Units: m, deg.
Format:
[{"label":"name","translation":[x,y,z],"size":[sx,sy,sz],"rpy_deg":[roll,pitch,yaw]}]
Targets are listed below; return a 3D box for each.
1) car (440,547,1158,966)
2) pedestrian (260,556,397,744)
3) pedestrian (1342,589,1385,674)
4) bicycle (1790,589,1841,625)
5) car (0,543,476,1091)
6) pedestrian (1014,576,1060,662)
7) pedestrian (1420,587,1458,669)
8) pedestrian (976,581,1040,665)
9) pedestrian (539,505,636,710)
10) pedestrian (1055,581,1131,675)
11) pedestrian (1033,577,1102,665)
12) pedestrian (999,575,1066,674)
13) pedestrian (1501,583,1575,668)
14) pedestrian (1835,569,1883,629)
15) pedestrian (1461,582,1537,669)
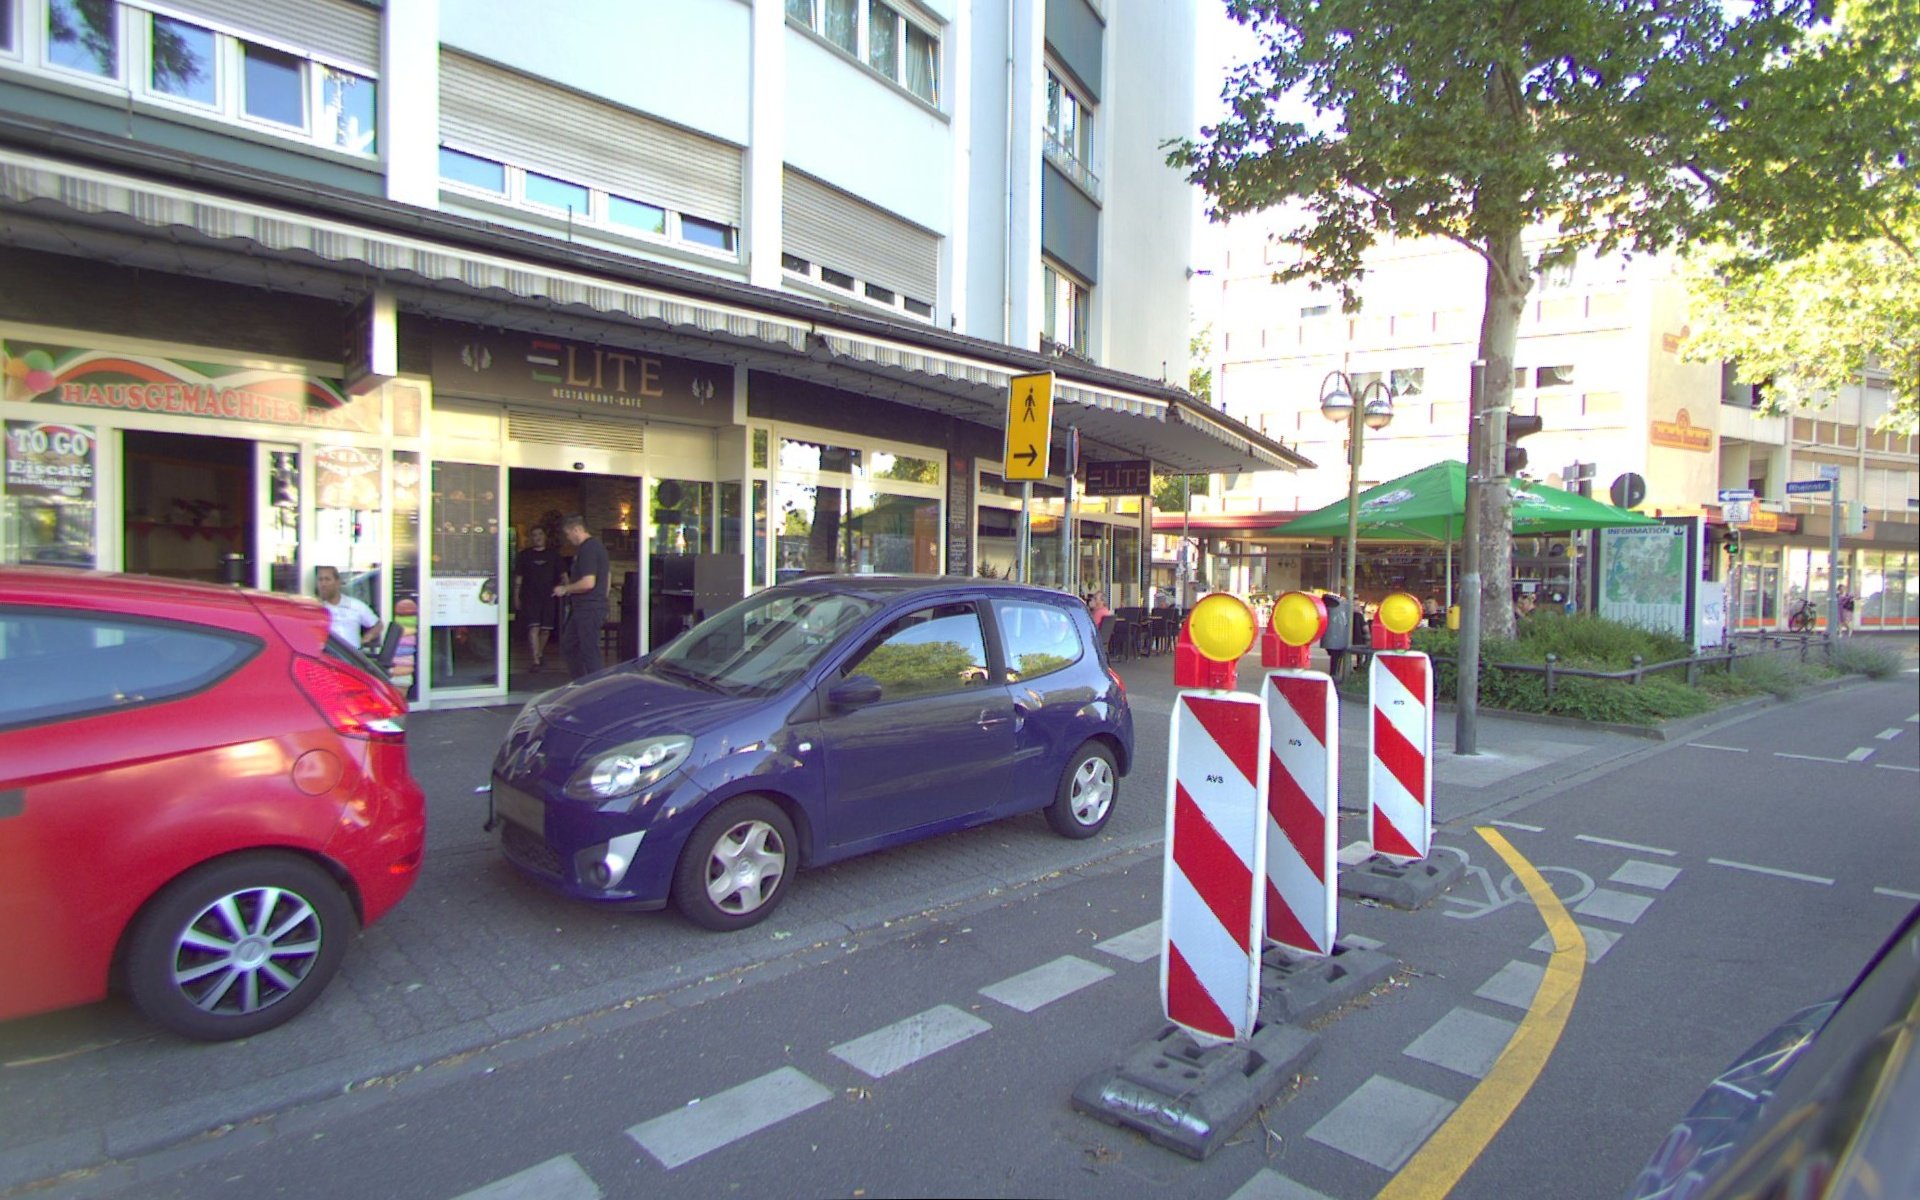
[{"label":"car","translation":[-0.660,0.535,5.508],"size":[3.545,1.484,1.621],"rpy_deg":[0,4,-44]},{"label":"pedestrian","translation":[-4.827,0.321,7.708],"size":[0.765,1.247,1.207],"rpy_deg":[-1,5,-38]},{"label":"pedestrian","translation":[5.939,0.457,14.911],"size":[0.460,1.235,0.432],"rpy_deg":[1,0,5]},{"label":"bicycle","translation":[28.122,0.230,33.249],"size":[1.933,1.157,0.530],"rpy_deg":[0,1,-26]},{"label":"car","translation":[-3.648,0.567,2.849],"size":[1.667,1.446,3.786],"rpy_deg":[5,4,44]},{"label":"pedestrian","translation":[1.162,0.276,15.274],"size":[0.541,1.259,0.521],"rpy_deg":[2,1,-7]},{"label":"pedestrian","translation":[7.452,0.424,15.767],"size":[0.427,1.234,0.465],"rpy_deg":[3,2,20]},{"label":"pedestrian","translation":[0.699,0.322,14.652],"size":[0.710,1.144,0.645],"rpy_deg":[3,1,25]},{"label":"pedestrian","translation":[-3.345,0.048,9.082],"size":[0.579,1.756,0.596],"rpy_deg":[1,3,-43]},{"label":"pedestrian","translation":[1.852,0.370,14.023],"size":[0.838,1.213,0.644],"rpy_deg":[3,1,27]},{"label":"pedestrian","translation":[1.583,0.299,14.914],"size":[0.664,1.233,0.706],"rpy_deg":[3,1,43]},{"label":"pedestrian","translation":[0.989,0.316,13.748],"size":[0.644,1.267,0.711],"rpy_deg":[3,1,25]},{"label":"pedestrian","translation":[9.265,0.388,16.220],"size":[0.753,1.301,0.721],"rpy_deg":[0,1,-28]},{"label":"pedestrian","translation":[27.242,-0.049,30.666],"size":[0.883,1.779,0.751],"rpy_deg":[0,1,-24]},{"label":"pedestrian","translation":[8.414,0.378,15.817],"size":[0.752,1.301,0.721],"rpy_deg":[0,1,-27]}]
